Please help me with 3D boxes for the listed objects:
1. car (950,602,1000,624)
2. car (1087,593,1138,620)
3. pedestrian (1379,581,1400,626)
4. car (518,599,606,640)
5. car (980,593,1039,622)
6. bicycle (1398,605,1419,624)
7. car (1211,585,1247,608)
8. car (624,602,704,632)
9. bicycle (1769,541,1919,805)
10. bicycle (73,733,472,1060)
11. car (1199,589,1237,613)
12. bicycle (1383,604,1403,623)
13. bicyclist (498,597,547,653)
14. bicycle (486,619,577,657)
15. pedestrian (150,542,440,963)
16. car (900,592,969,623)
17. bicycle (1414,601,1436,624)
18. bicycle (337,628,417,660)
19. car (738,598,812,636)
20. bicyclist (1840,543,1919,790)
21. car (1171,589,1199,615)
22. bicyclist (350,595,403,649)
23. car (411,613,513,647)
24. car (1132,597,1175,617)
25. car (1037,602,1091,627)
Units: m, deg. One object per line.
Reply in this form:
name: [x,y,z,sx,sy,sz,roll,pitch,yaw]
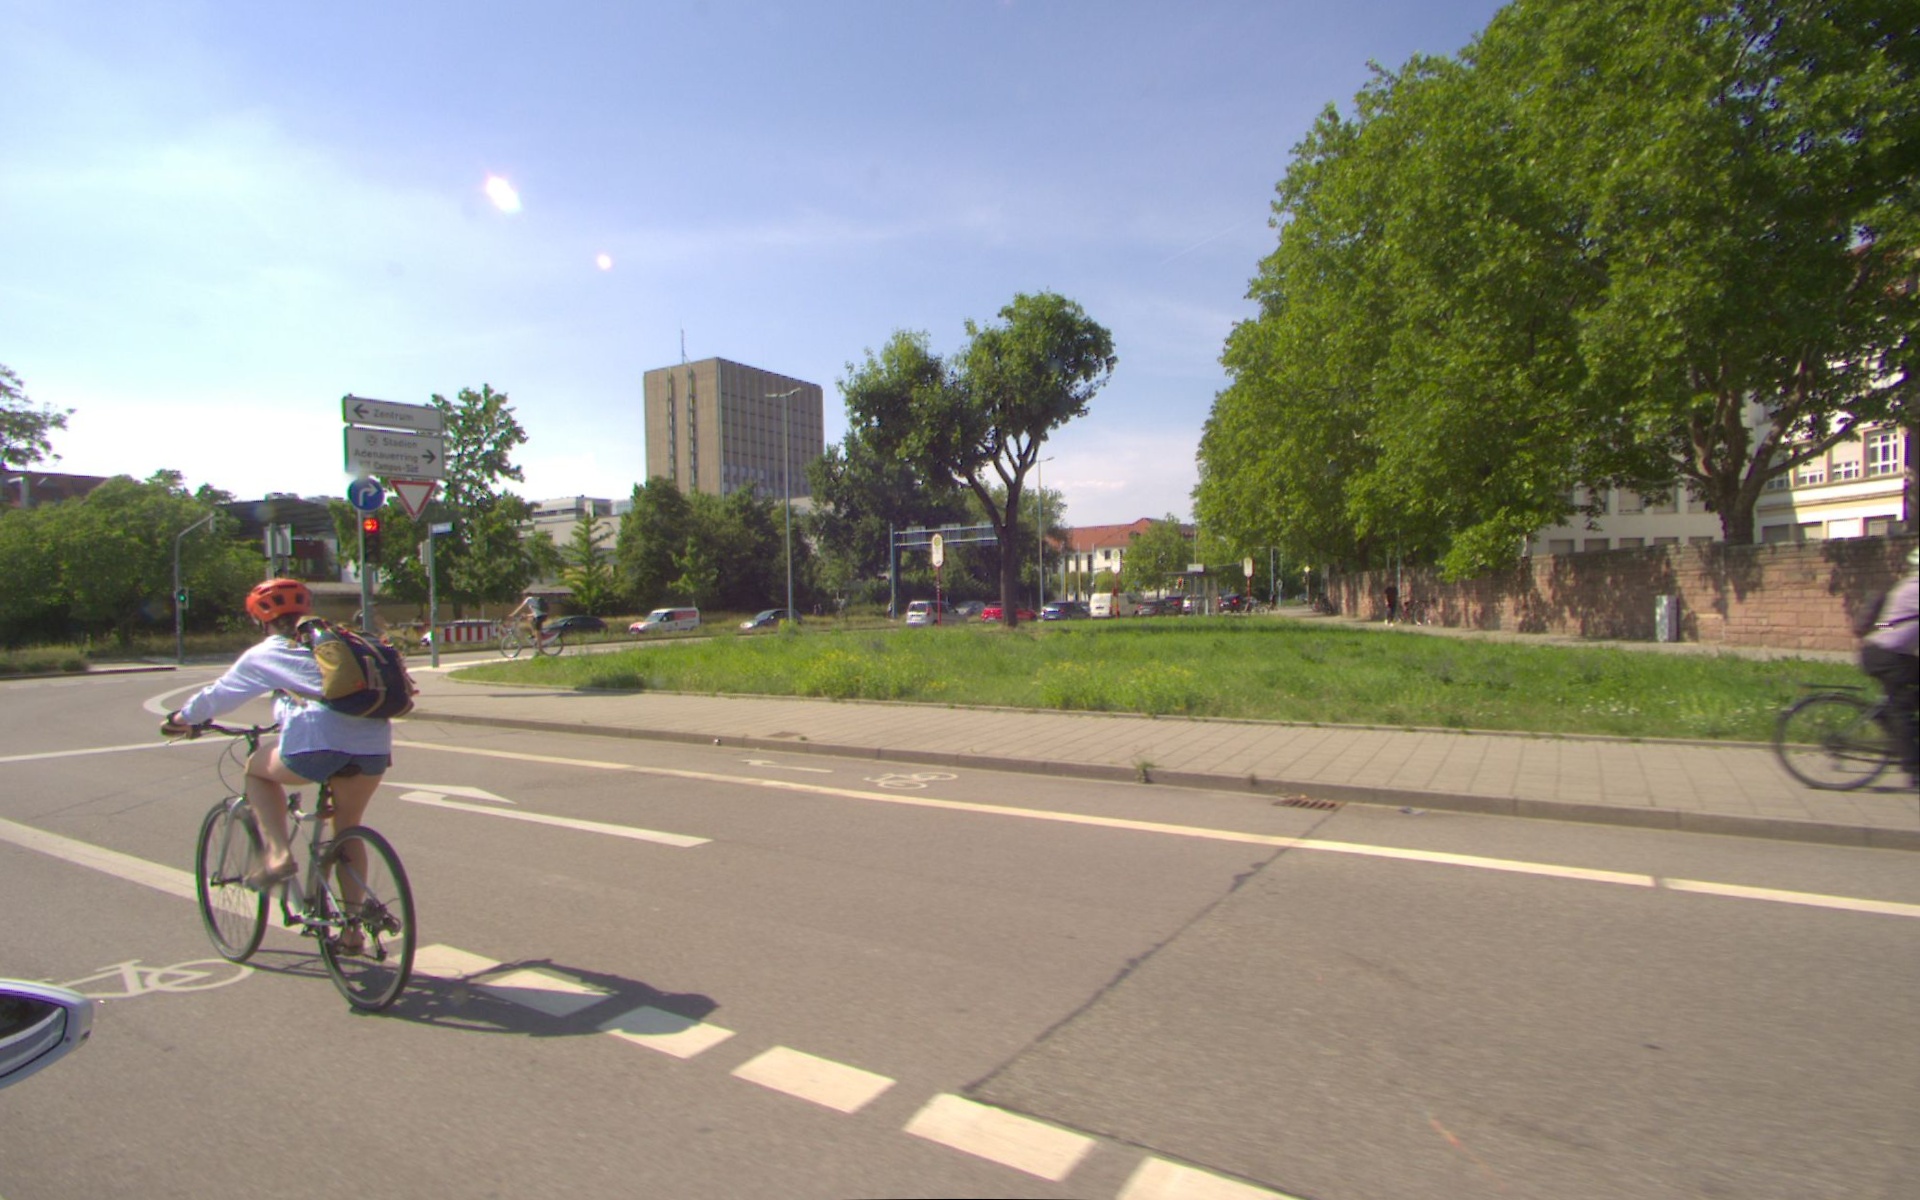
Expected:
car: [1.146,0.964,75.539,1.619,1.425,4.080,-3,-1,37]
car: [10.736,0.454,70.123,1.729,1.781,4.403,0,1,36]
pedestrian: [17.155,0.139,39.995,0.608,1.763,0.599,-1,1,3]
car: [-21.293,1.015,53.701,1.973,2.041,3.975,-1,1,34]
car: [2.946,0.455,58.584,1.727,1.527,3.981,-1,-3,32]
bicycle: [17.990,0.565,40.193,0.334,0.738,1.364,-1,1,5]
car: [24.324,-0.340,90.452,1.973,2.041,3.976,-1,1,34]
car: [-17.307,0.965,58.688,1.882,1.590,4.301,-1,1,32]
bicycle: [6.835,0.490,6.974,1.785,1.789,0.676,-1,1,32]
bicycle: [-2.922,1.112,4.182,1.998,0.943,0.595,-1,0,31]
car: [22.564,0.060,87.393,1.973,2.041,3.976,-1,1,34]
bicycle: [18.017,0.543,41.658,0.334,0.738,1.364,-1,1,5]
bicyclist: [-11.797,0.676,27.018,1.121,1.489,0.496,-1,-1,-10]
bicycle: [-11.545,1.010,27.050,2.128,0.928,0.674,-1,1,-11]
pedestrian: [-2.681,0.553,4.036,0.998,1.485,0.582,-1,0,30]
car: [-1.309,0.399,53.066,1.727,1.528,3.978,-1,1,32]
bicycle: [17.874,0.473,38.515,0.365,0.867,1.307,-1,1,7]
bicycle: [-16.569,1.245,28.471,0.554,0.803,1.878,1,2,44]
car: [-11.020,0.991,59.787,1.976,2.040,3.971,-3,-1,37]
bicyclist: [6.812,0.443,6.989,0.905,1.678,0.676,0,1,32]
car: [18.825,0.164,83.782,1.964,2.040,3.993,-1,1,17]
bicyclist: [-16.580,0.620,28.474,0.558,1.494,1.158,0,2,44]
car: [-24.187,1.448,48.775,1.972,1.483,3.978,-2,0,32]
car: [14.681,0.513,75.863,1.729,1.357,3.973,-1,1,36]
car: [6.757,0.932,64.580,1.729,1.494,3.973,0,1,36]
